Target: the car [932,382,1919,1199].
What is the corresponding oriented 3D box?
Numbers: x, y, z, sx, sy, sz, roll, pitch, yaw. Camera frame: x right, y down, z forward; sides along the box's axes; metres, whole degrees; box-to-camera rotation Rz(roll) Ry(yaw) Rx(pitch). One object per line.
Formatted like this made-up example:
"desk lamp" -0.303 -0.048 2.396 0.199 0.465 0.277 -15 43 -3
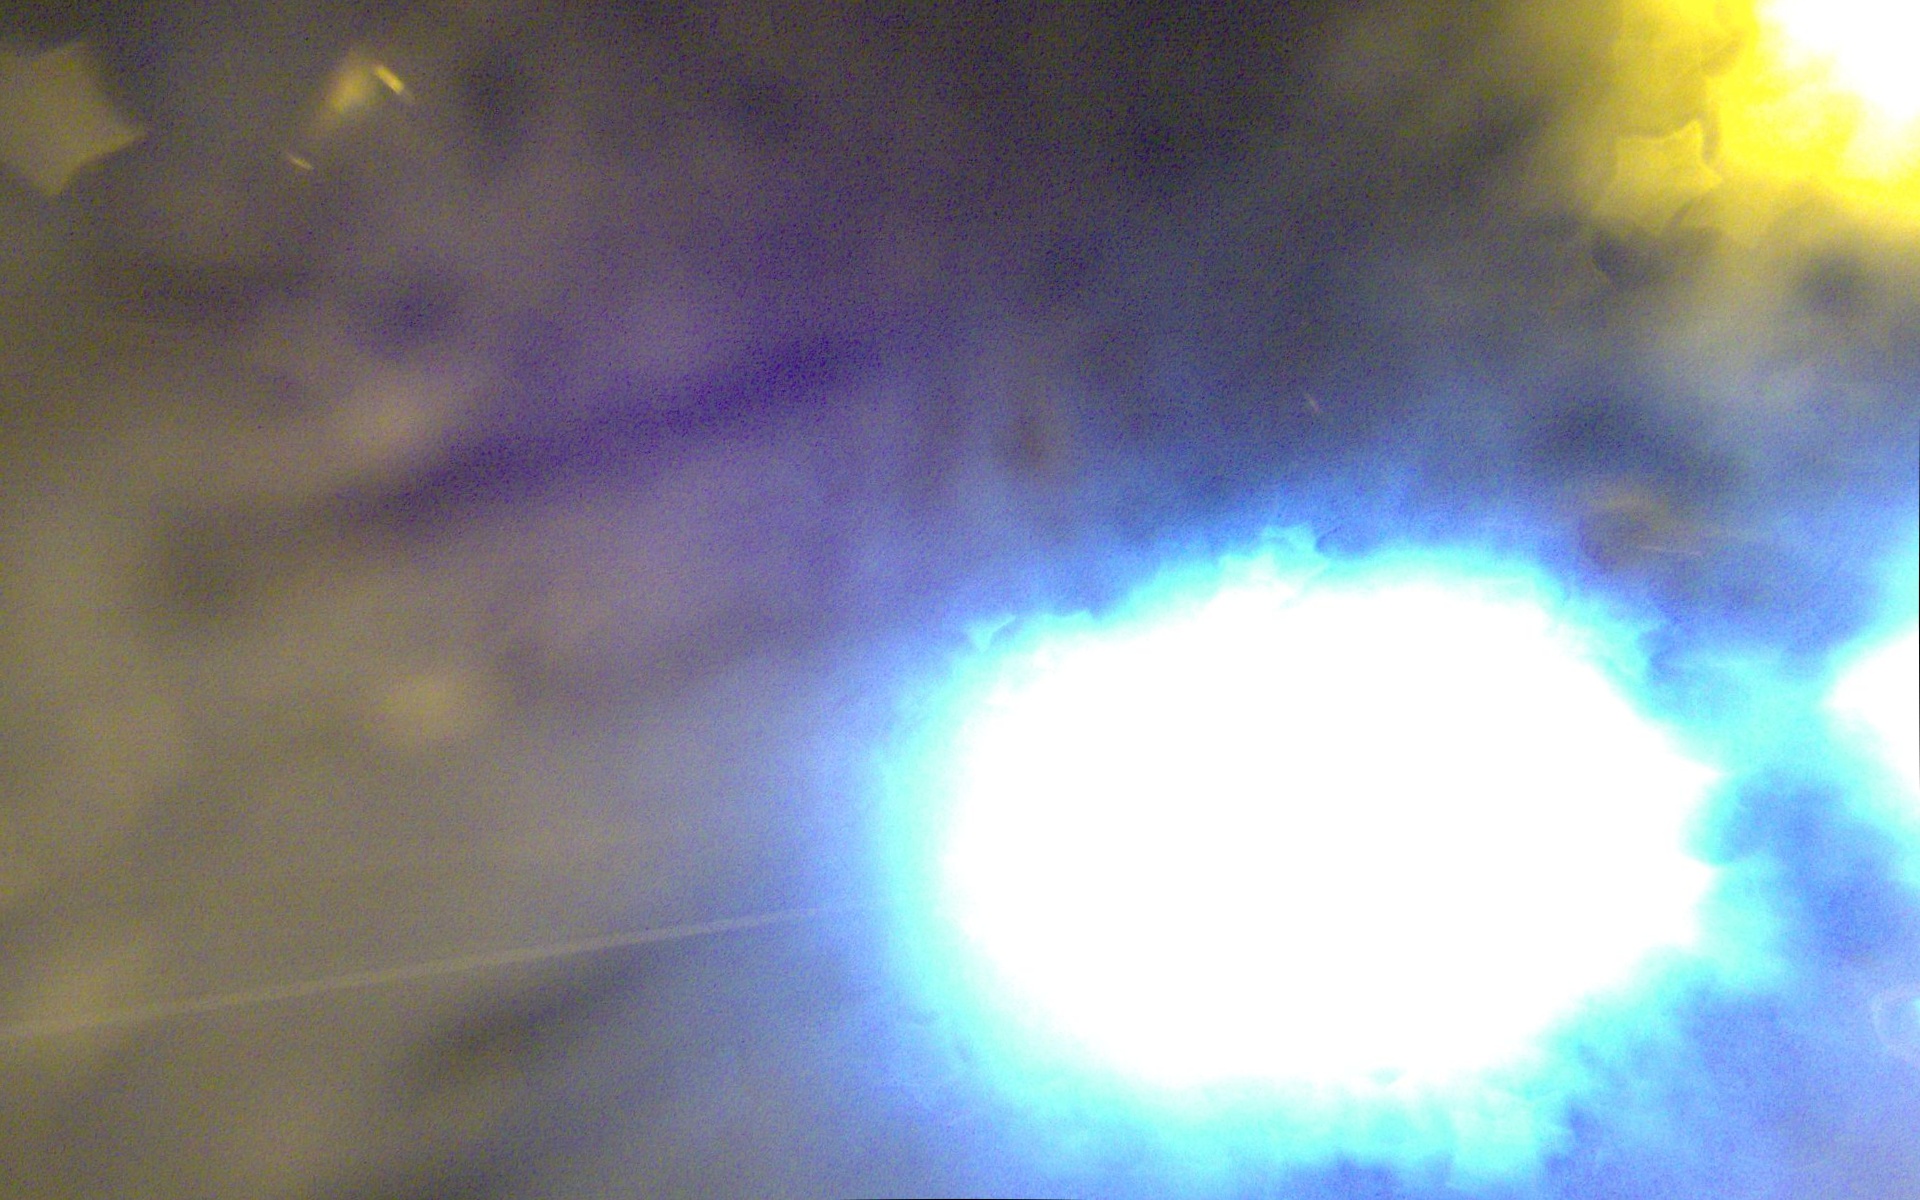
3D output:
"car" 2.530 0.519 4.448 5.078 1.954 1.772 2 -1 -31
